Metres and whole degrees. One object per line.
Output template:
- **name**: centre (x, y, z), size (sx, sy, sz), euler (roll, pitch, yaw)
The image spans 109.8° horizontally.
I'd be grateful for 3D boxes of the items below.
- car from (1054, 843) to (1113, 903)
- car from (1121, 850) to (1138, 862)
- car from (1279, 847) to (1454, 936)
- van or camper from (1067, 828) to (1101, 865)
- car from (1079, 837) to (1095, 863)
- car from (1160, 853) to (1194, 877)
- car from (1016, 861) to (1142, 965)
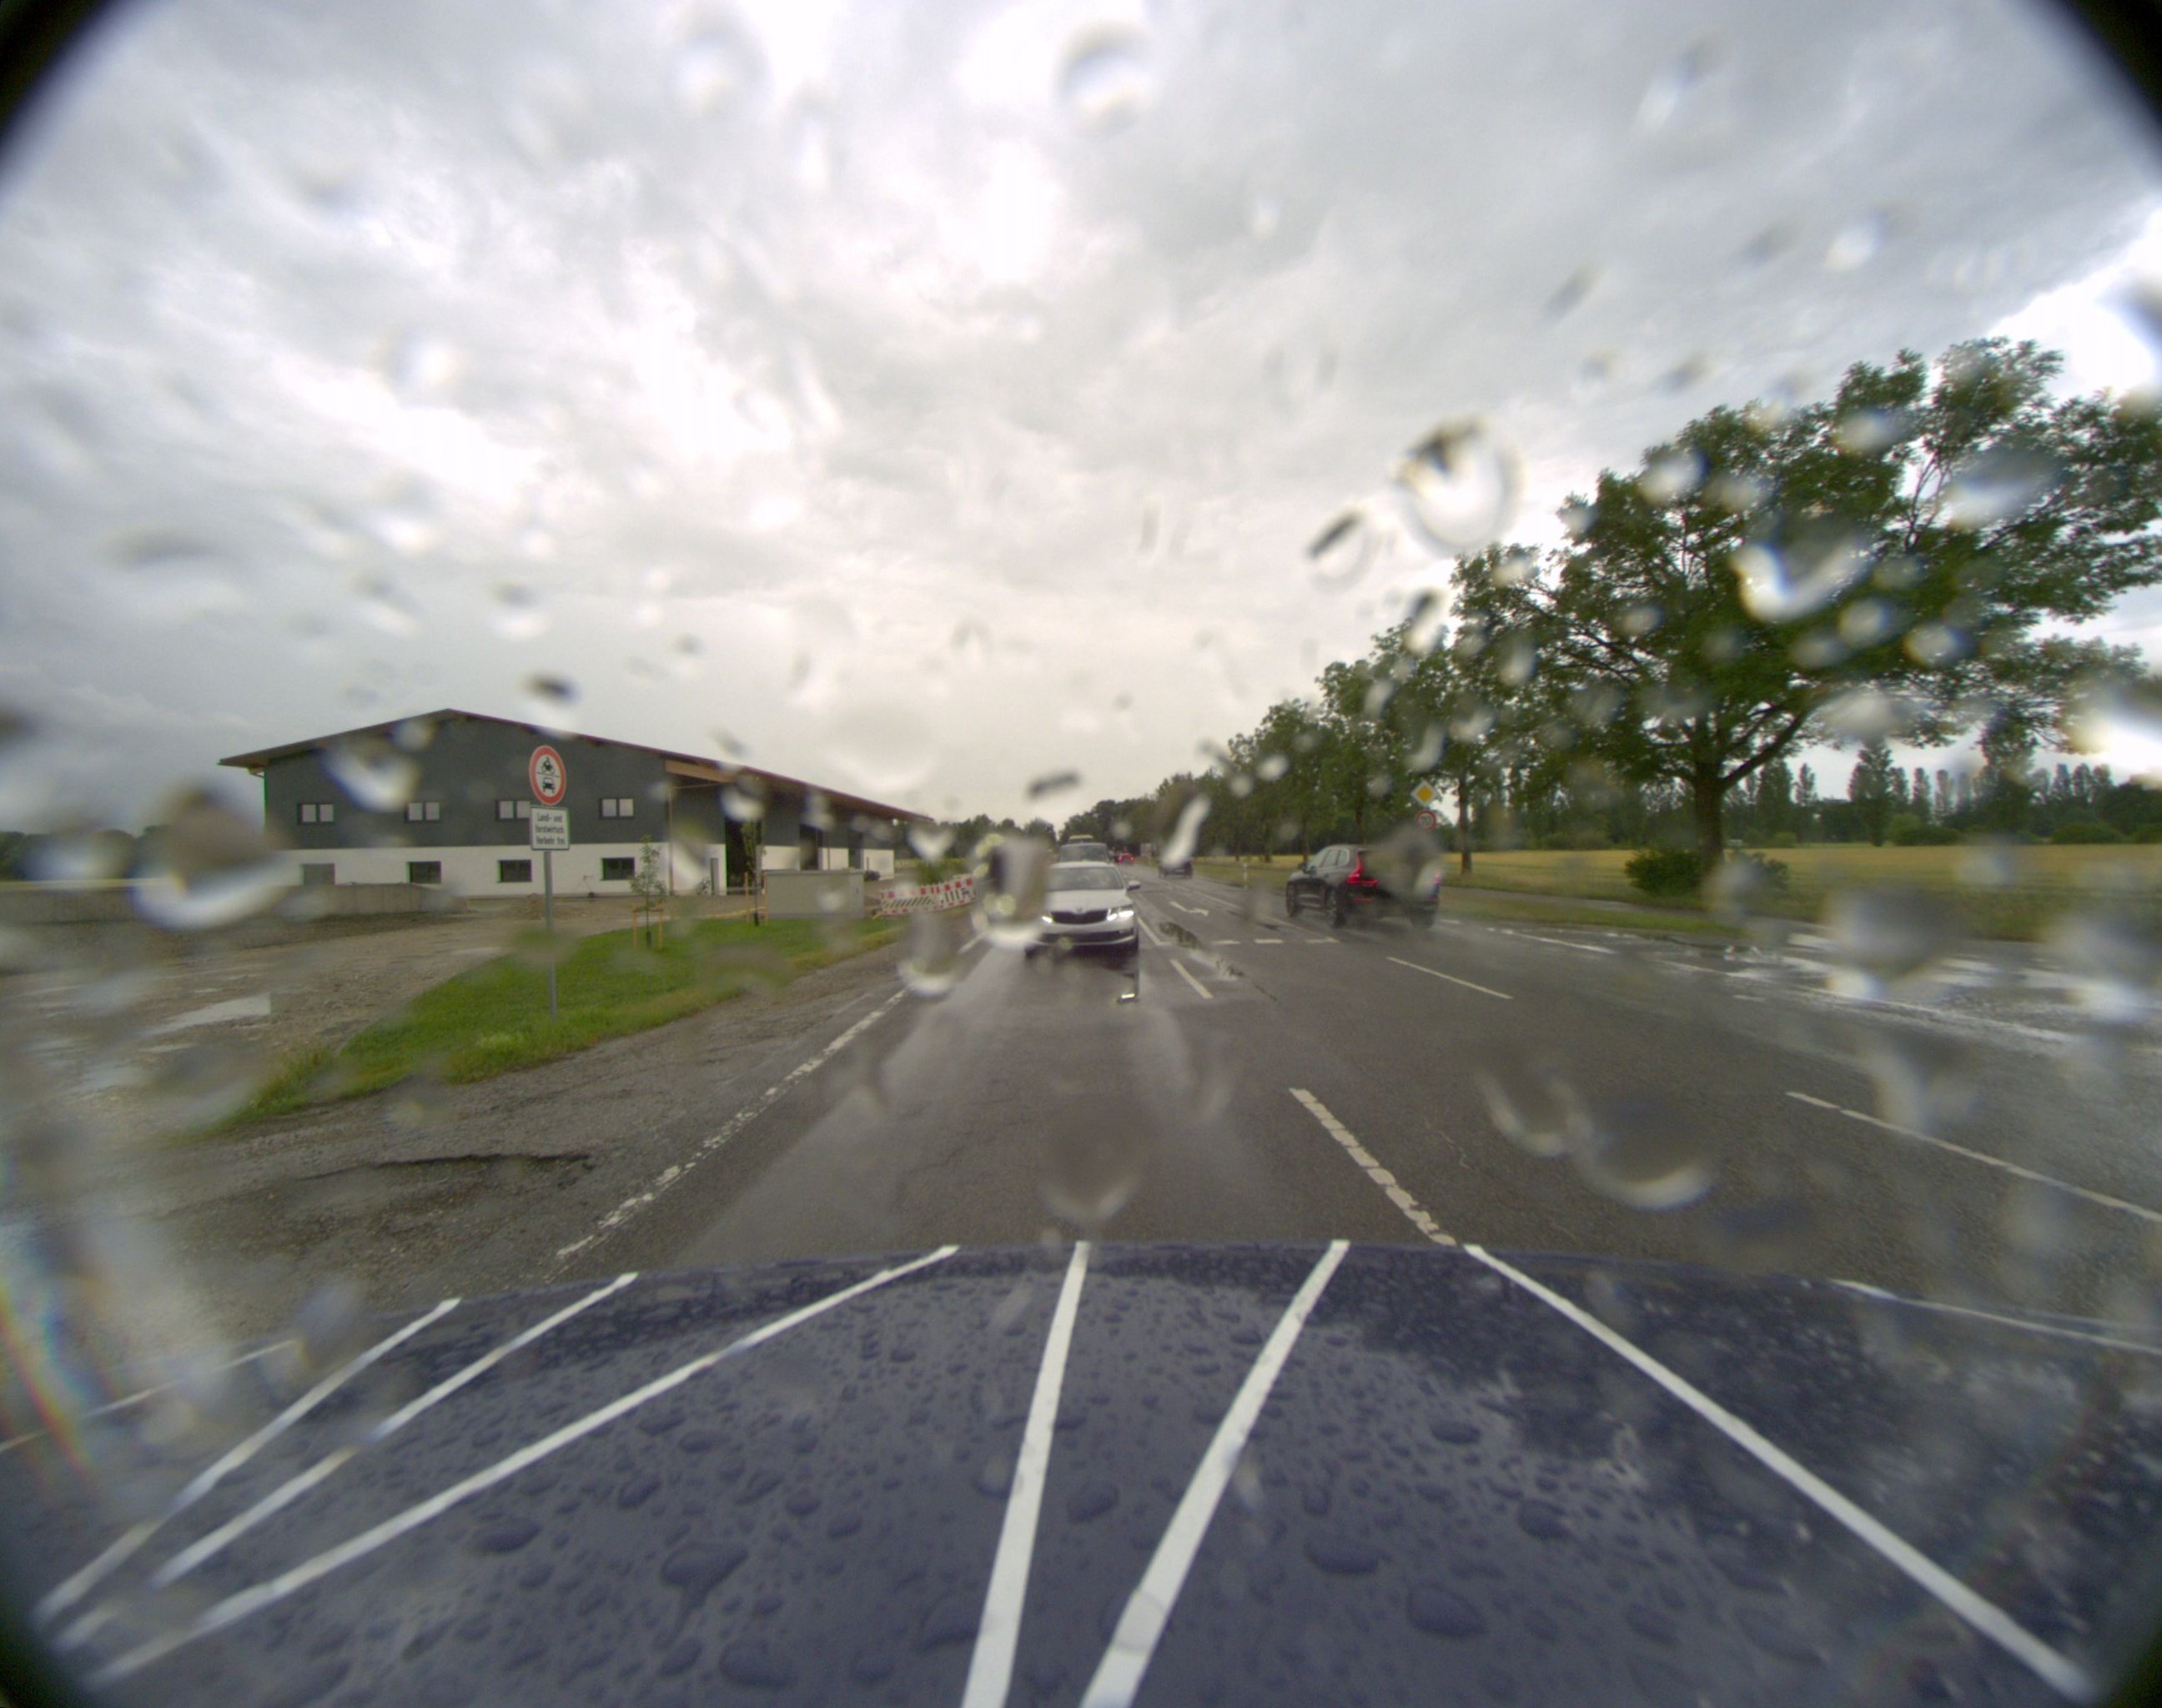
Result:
- **car**: centre (0.100, 0.585, 26.387), size (1.841, 1.888, 4.575), euler (-1, 1, 0)
- **car**: centre (5.760, 0.222, 91.158), size (1.770, 1.429, 4.413), euler (0, 0, 0)
- **car**: centre (5.627, 0.658, 15.673), size (1.949, 1.571, 4.443), euler (0, 0, 0)
- **van or camper**: centre (0.323, -0.804, 81.063), size (3.342, 3.624, 8.372), euler (-1, 1, 0)
- **car**: centre (0.680, -0.488, 92.711), size (1.771, 3.134, 4.027), euler (-1, 1, 0)
- **car**: centre (5.753, 0.651, 45.963), size (1.716, 1.397, 3.814), euler (0, 0, 2)
- **car**: centre (-0.011, 0.862, 13.154), size (1.770, 1.365, 4.575), euler (-1, 1, 0)
